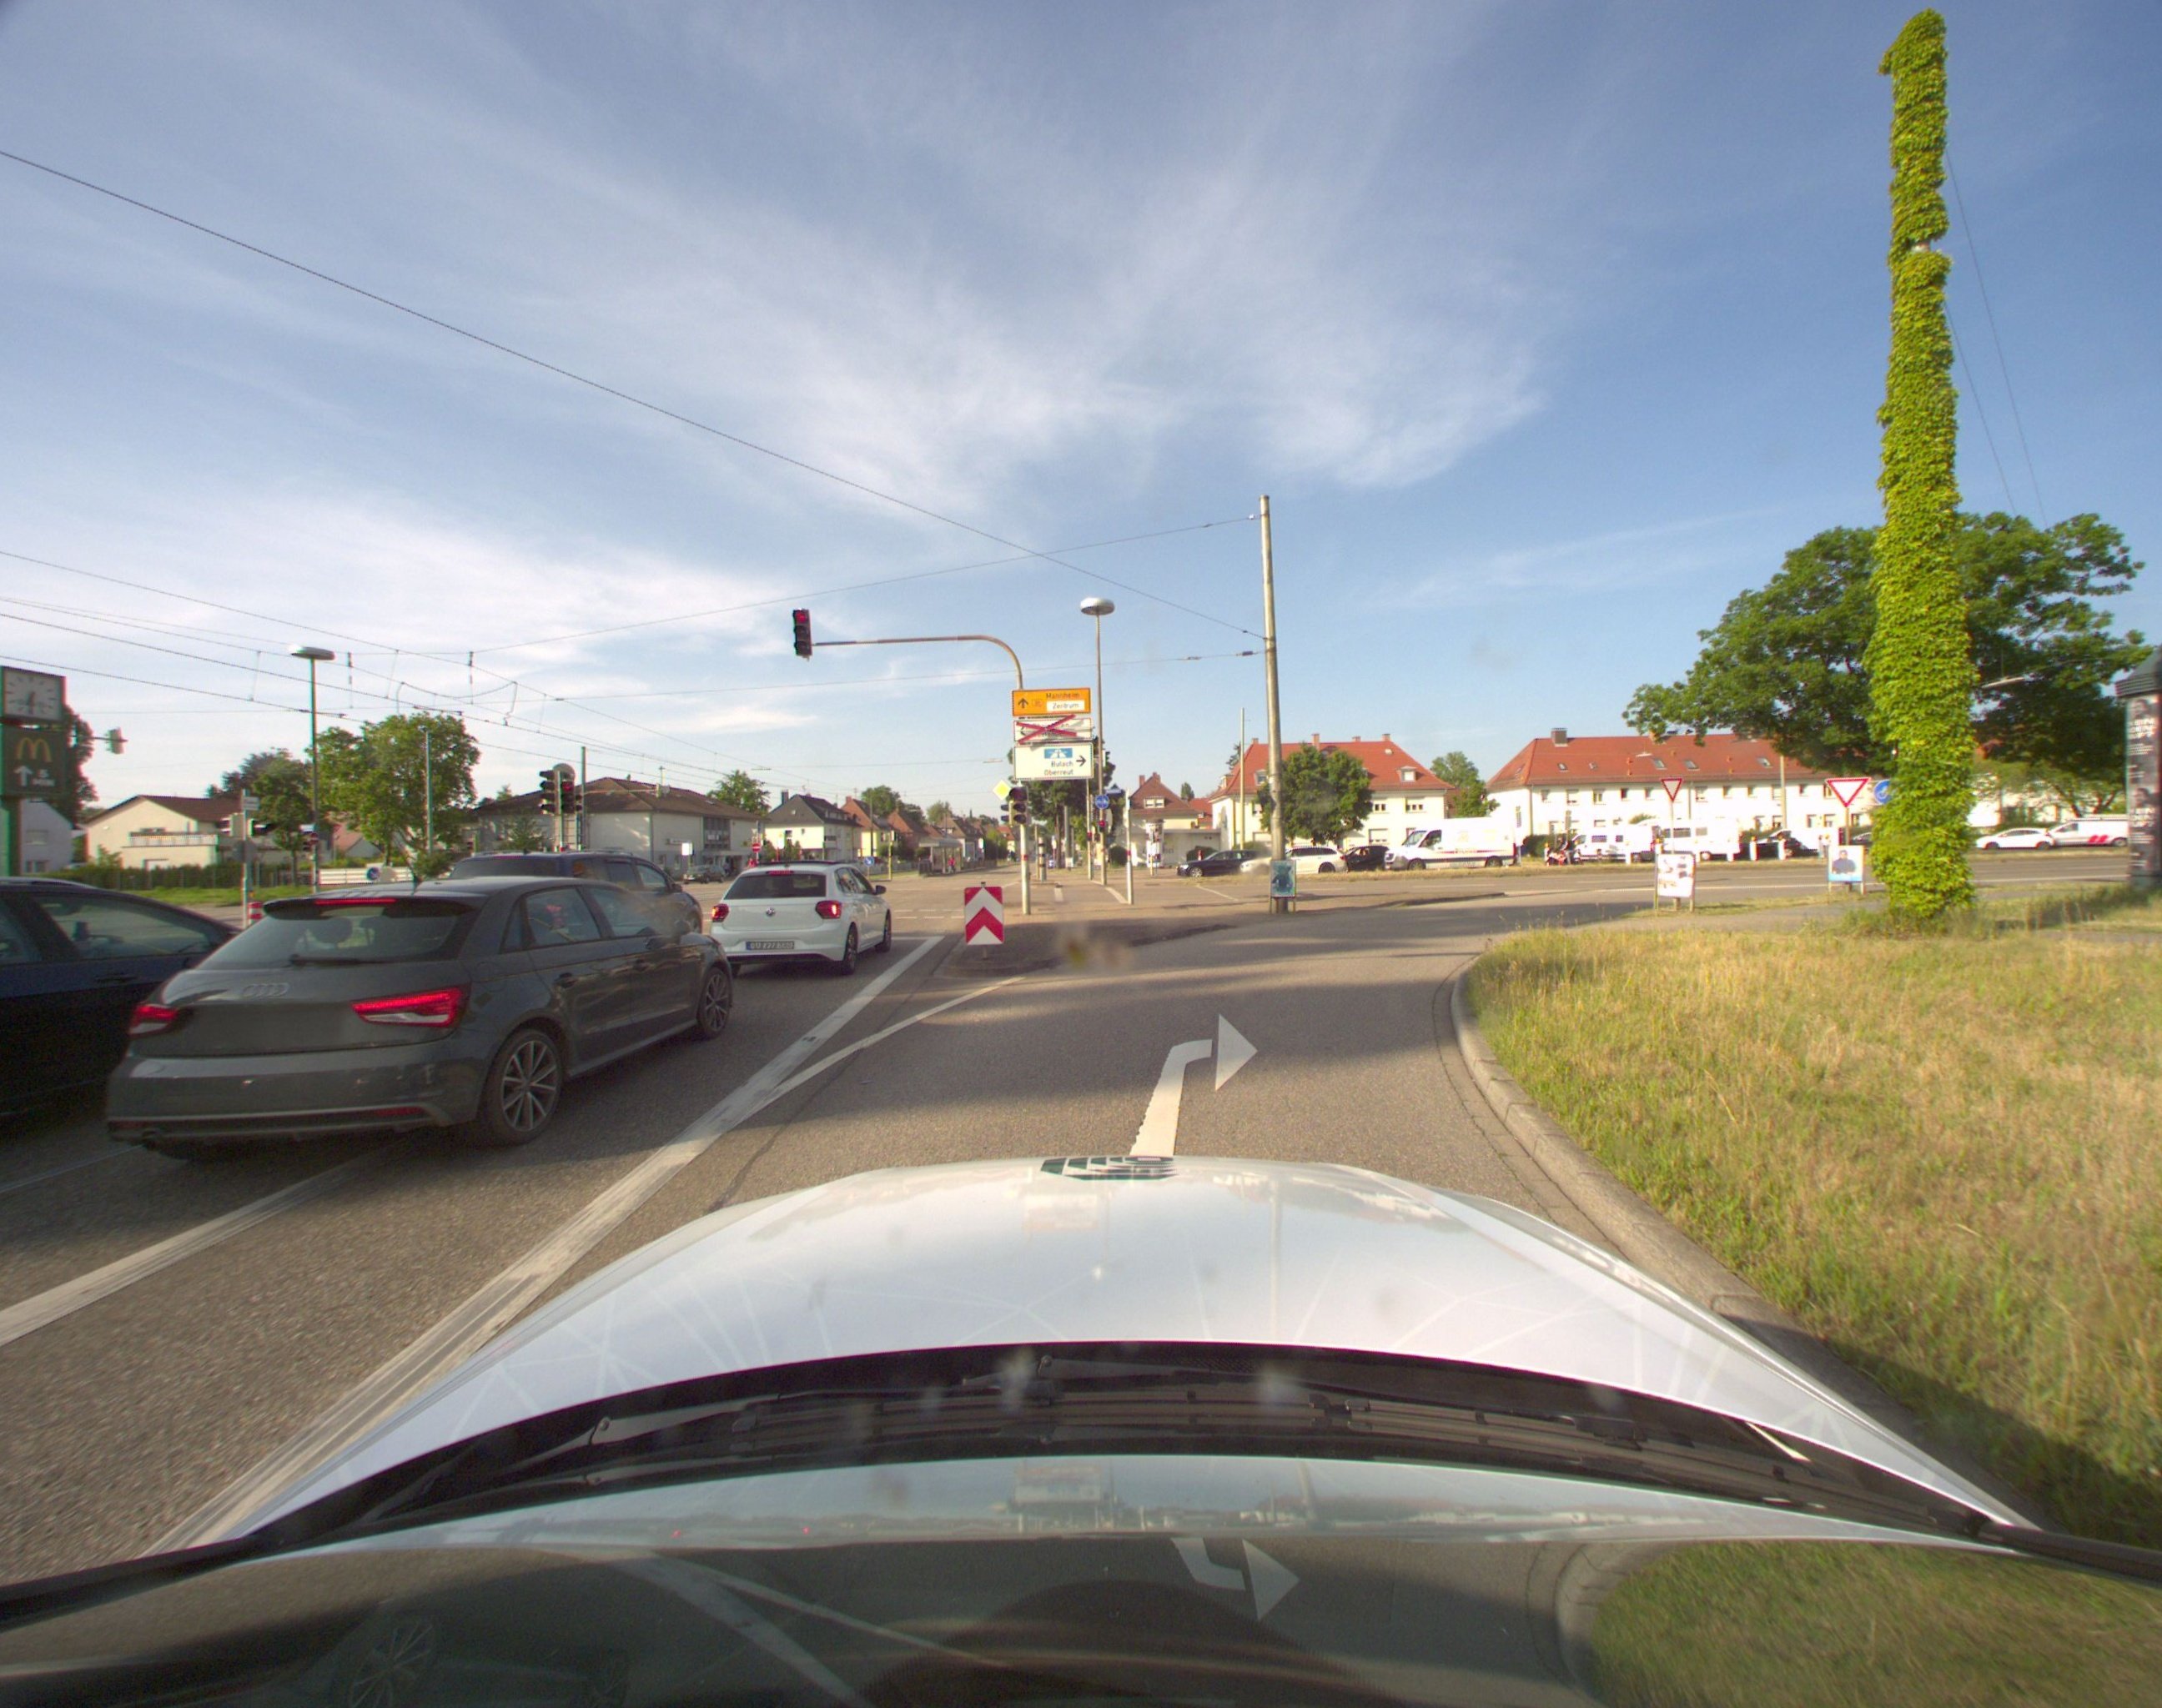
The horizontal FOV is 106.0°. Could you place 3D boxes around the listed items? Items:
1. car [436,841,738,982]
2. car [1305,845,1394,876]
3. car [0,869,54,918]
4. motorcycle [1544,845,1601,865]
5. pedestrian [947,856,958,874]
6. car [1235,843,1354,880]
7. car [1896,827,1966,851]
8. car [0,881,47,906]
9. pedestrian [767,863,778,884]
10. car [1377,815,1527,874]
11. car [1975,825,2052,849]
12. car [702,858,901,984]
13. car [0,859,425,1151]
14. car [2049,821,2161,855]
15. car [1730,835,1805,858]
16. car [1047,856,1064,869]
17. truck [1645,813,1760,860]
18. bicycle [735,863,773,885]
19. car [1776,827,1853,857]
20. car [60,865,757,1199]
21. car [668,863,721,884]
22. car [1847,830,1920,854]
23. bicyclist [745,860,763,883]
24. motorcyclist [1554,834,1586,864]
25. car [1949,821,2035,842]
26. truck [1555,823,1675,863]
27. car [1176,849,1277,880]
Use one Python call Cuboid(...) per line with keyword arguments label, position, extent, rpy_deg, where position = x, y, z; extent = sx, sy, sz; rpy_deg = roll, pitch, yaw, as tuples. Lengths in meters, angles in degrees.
Cuboid(label="car", position=(-6.928, 0.689, 12.140), extent=(1.501, 1.651, 4.744), rpy_deg=(-2, 0, 1))
Cuboid(label="car", position=(13.692, 0.341, 41.705), extent=(3.976, 1.453, 1.715), rpy_deg=(-2, 0, -2))
Cuboid(label="car", position=(-42.152, 1.519, 31.035), extent=(3.974, 1.793, 1.519), rpy_deg=(-1, 0, -1))
Cuboid(label="motorcycle", position=(22.816, 0.036, 37.804), extent=(2.266, 0.866, 0.690), rpy_deg=(-1, 0, -3))
Cuboid(label="pedestrian", position=(-10.514, 0.908, 66.670), extent=(0.750, 1.499, 0.827), rpy_deg=(0, -1, 0))
Cuboid(label="car", position=(9.917, 0.350, 38.038), extent=(5.080, 1.563, 1.839), rpy_deg=(-2, 0, -2))
Cuboid(label="car", position=(60.429, -1.058, 57.971), extent=(1.907, 1.514, 3.390), rpy_deg=(-1, -1, -44))
Cuboid(label="car", position=(-74.932, 2.716, 56.051), extent=(1.984, 1.684, 4.225), rpy_deg=(0, -1, 5))
Cuboid(label="pedestrian", position=(-20.655, 1.287, 54.495), extent=(0.577, 1.431, 0.546), rpy_deg=(0, -1, -8))
Cuboid(label="car", position=(17.417, -0.433, 38.396), extent=(6.191, 2.583, 1.999), rpy_deg=(-1, 0, -2))
Cuboid(label="car", position=(64.862, -1.143, 56.714), extent=(1.907, 1.514, 3.390), rpy_deg=(-1, -1, -44))
Cuboid(label="car", position=(-3.760, 0.800, 11.683), extent=(1.653, 1.443, 4.008), rpy_deg=(-2, 0, -4))
Cuboid(label="car", position=(-6.481, 0.802, 4.724), extent=(1.695, 1.508, 4.551), rpy_deg=(-1, 0, -1))
Cuboid(label="car", position=(71.541, -1.088, 56.765), extent=(4.916, 2.232, 2.012), rpy_deg=(-2, -1, 42))
Cuboid(label="car", position=(47.677, -0.527, 56.655), extent=(3.859, 1.456, 1.908), rpy_deg=(-2, 0, 39))
Cuboid(label="car", position=(-2.650, 0.922, 85.658), extent=(1.670, 1.398, 3.998), rpy_deg=(0, -1, -1))
Cuboid(label="truck", position=(42.029, -1.131, 55.203), extent=(6.001, 2.854, 1.908), rpy_deg=(-2, -1, 42))
Cuboid(label="bicycle", position=(-20.701, 1.268, 51.620), extent=(2.075, 1.348, 1.104), rpy_deg=(0, -1, -11))
Cuboid(label="car", position=(51.031, -0.813, 56.733), extent=(3.859, 1.920, 1.908), rpy_deg=(-2, -1, 42))
Cuboid(label="car", position=(-3.772, 0.817, 5.577), extent=(1.637, 1.397, 3.824), rpy_deg=(-2, 0, -2))
Cuboid(label="car", position=(-30.038, 1.462, 63.460), extent=(1.988, 1.508, 4.604), rpy_deg=(-1, 0, -2))
Cuboid(label="car", position=(55.092, -0.825, 55.938), extent=(1.907, 1.514, 3.456), rpy_deg=(-1, -1, -44))
Cuboid(label="bicyclist", position=(-20.716, 1.114, 51.611), extent=(0.884, 1.431, 1.132), rpy_deg=(0, -1, -11))
Cuboid(label="motorcyclist", position=(22.682, -0.234, 37.794), extent=(1.063, 1.352, 0.679), rpy_deg=(-1, 0, -3))
Cuboid(label="car", position=(81.708, -1.991, 73.161), extent=(1.988, 1.719, 4.975), rpy_deg=(-2, 0, -2))
Cuboid(label="truck", position=(35.689, -0.726, 54.621), extent=(2.288, 2.524, 6.287), rpy_deg=(-1, 0, -37))
Cuboid(label="car", position=(7.357, 0.543, 41.511), extent=(4.810, 1.411, 1.715), rpy_deg=(-2, 0, -2))
